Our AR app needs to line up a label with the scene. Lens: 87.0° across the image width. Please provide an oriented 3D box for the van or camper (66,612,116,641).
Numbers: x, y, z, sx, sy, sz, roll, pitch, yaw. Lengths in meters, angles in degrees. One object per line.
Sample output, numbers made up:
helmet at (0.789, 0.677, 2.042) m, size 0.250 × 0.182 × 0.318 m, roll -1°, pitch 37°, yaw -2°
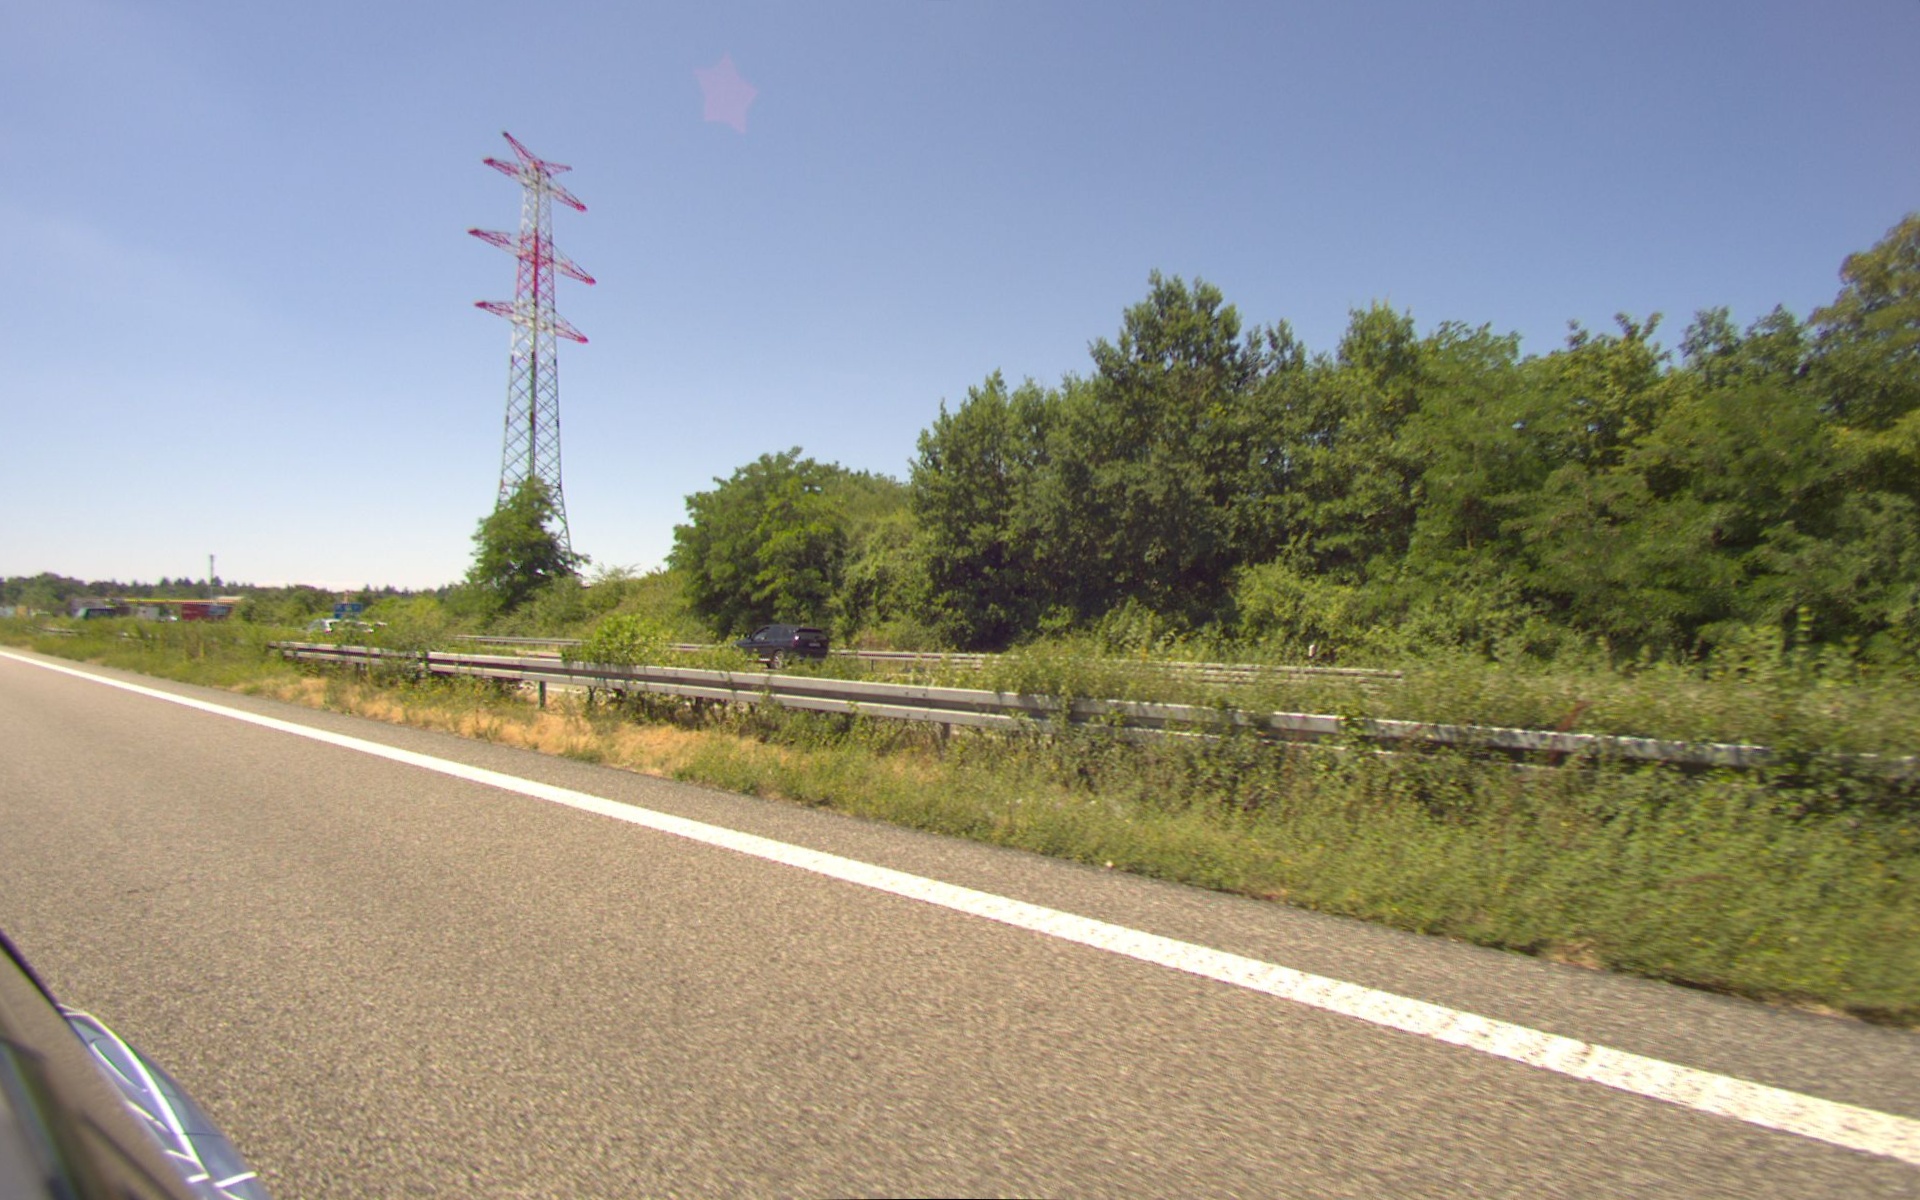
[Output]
van or camper at (-56.871, 1.713, 66.176) m, size 4.872 × 1.826 × 1.825 m, roll -1°, pitch 0°, yaw 41°

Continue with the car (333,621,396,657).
car at (-33.021, 2.146, 56.054) m, size 4.255 × 1.851 × 1.784 m, roll -1°, pitch 0°, yaw 41°

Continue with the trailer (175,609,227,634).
trailer at (-132.504, 3.624, 176.850) m, size 3.078 × 4.086 × 11.345 m, roll -1°, pitch 0°, yaw -15°

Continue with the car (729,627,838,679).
car at (-6.632, 1.915, 37.729) m, size 4.403 × 1.781 × 1.682 m, roll -1°, pitch 0°, yaw 43°

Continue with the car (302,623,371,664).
car at (-28.980, 1.989, 47.012) m, size 4.235 × 1.781 × 1.682 m, roll -1°, pitch 0°, yaw 43°
